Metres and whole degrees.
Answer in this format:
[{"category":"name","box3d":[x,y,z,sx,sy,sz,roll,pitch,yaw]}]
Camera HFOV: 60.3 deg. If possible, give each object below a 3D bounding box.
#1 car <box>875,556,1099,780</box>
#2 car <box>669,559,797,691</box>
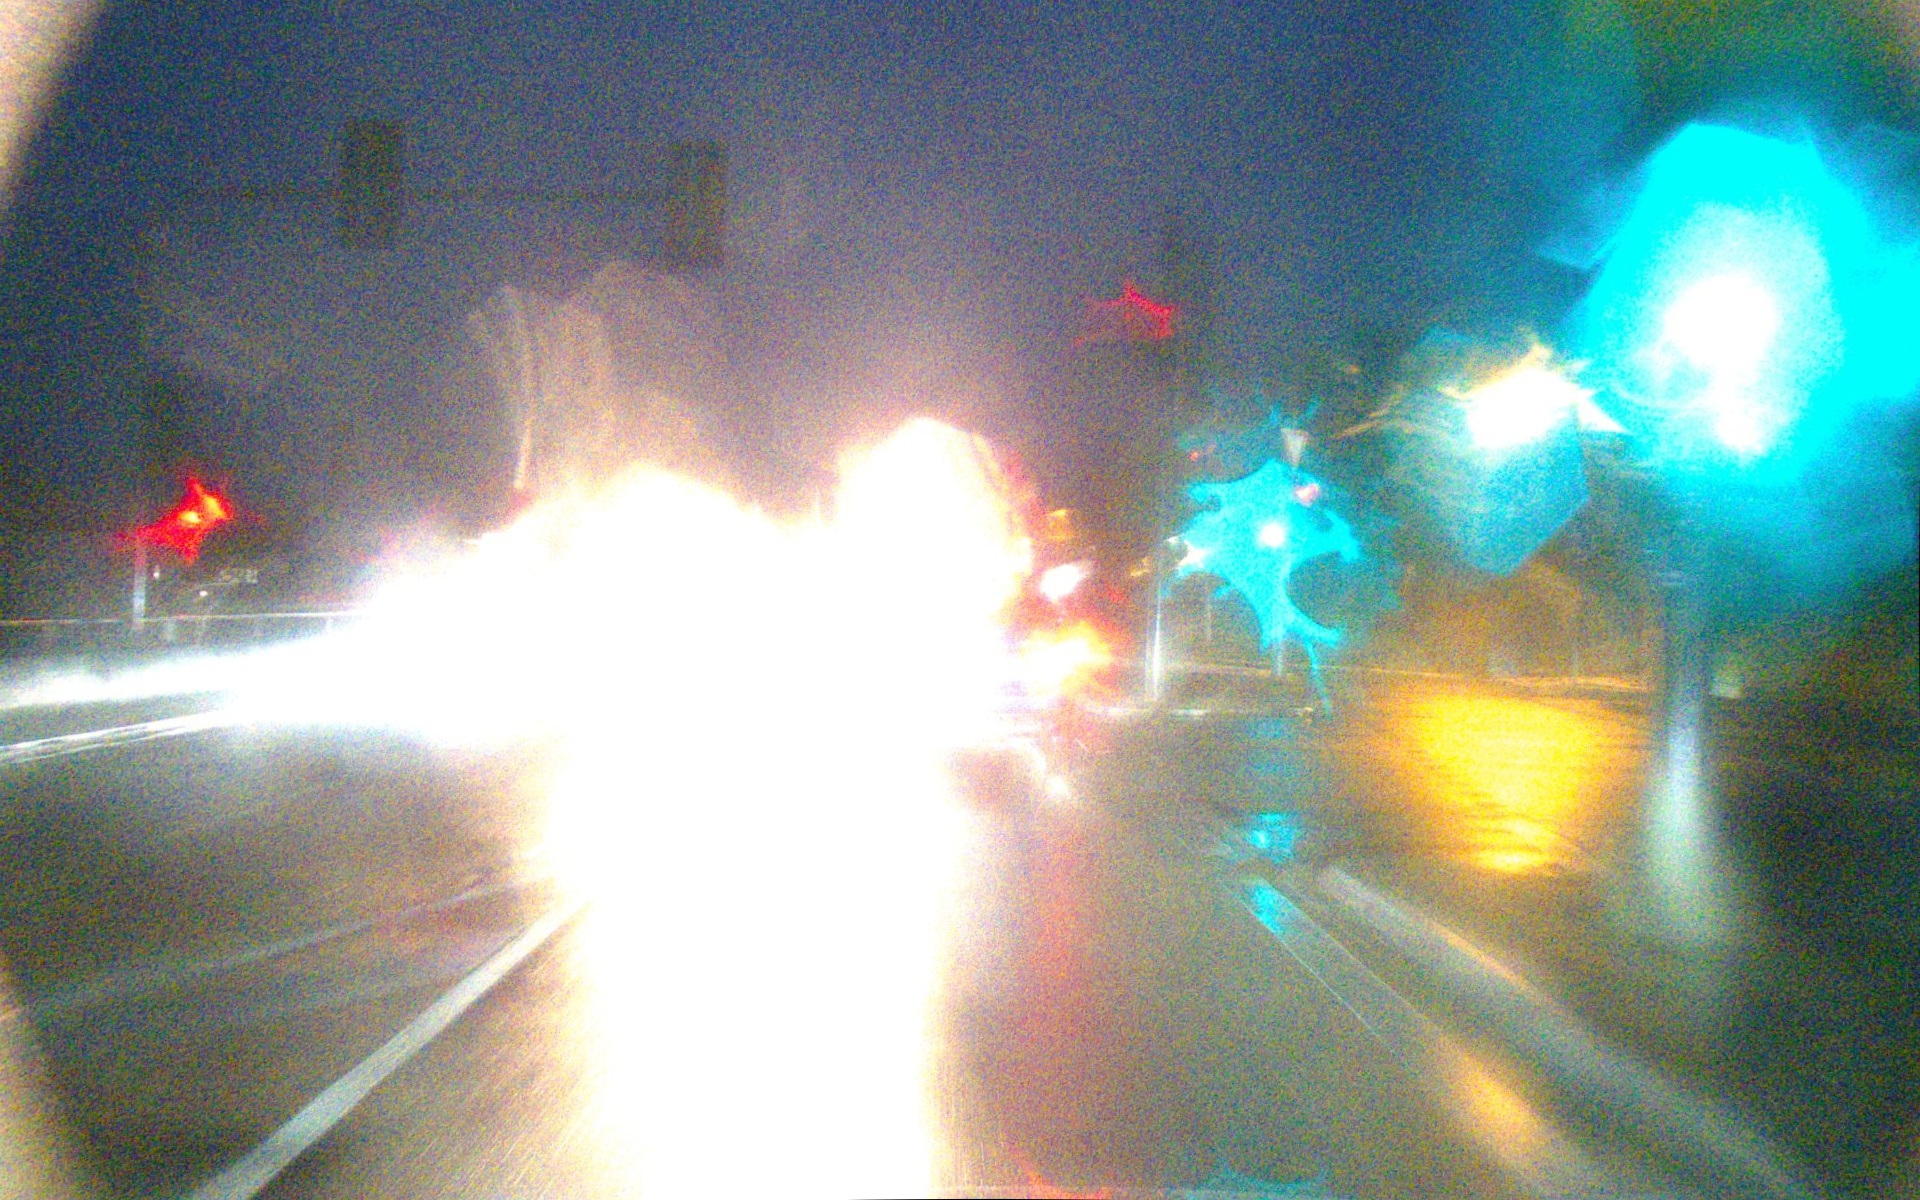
[{"category":"car","box3d":[0.129,0.532,14.893,1.740,1.742,3.998,0,0,-2]},{"category":"car","box3d":[-3.770,0.462,28.060,1.955,2.049,3.995,-1,-2,-6]}]
